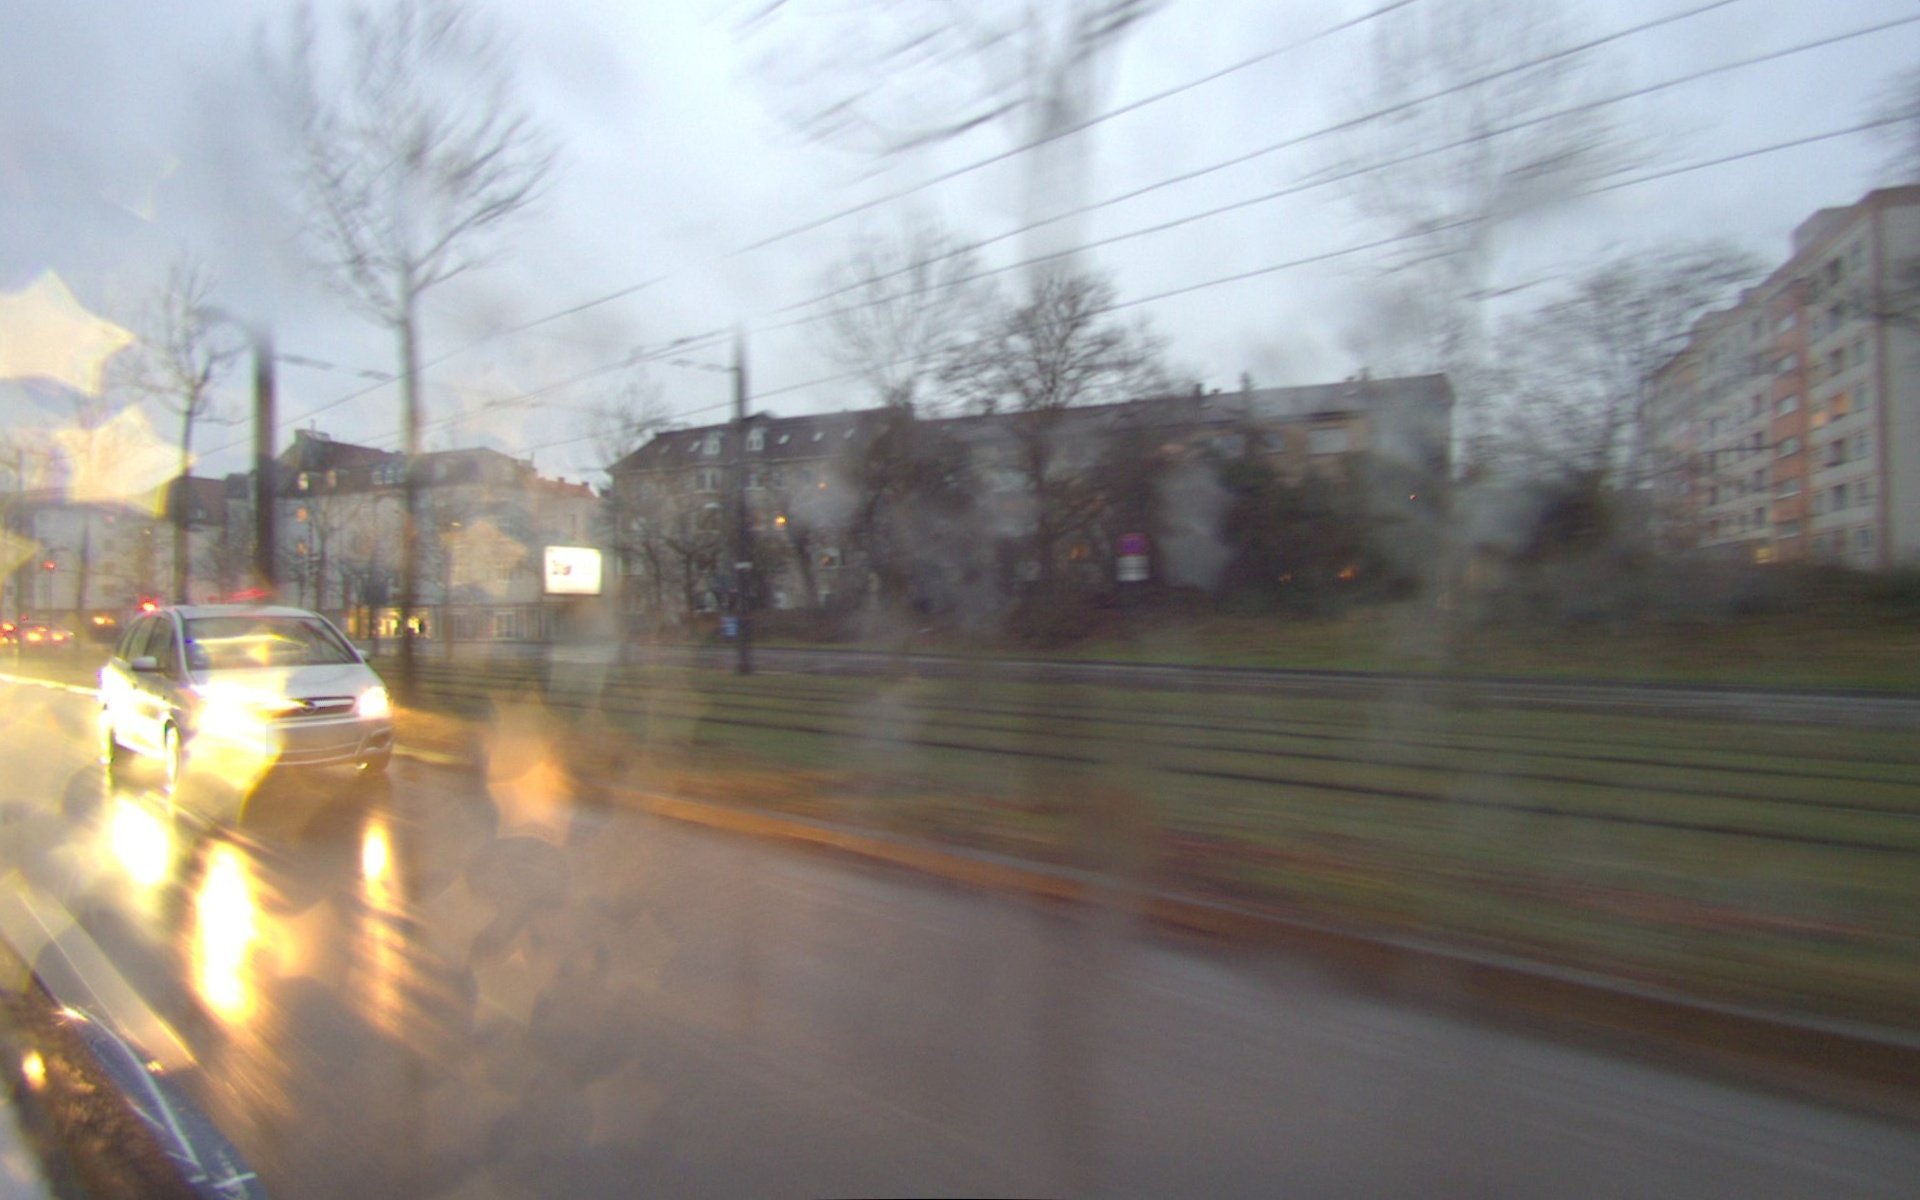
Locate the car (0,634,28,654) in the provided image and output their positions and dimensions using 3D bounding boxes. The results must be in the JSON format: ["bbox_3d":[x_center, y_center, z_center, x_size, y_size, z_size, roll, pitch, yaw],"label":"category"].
[{"bbox_3d":[-67.597,3.112,71.178,4.274,1.365,1.878,-2,-2,32],"label":"car"}]

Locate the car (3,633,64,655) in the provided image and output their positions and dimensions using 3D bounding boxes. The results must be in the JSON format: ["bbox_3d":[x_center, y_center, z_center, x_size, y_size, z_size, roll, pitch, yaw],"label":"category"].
[{"bbox_3d":[-62.293,2.956,68.042,4.273,1.365,1.878,-2,-2,31],"label":"car"}]

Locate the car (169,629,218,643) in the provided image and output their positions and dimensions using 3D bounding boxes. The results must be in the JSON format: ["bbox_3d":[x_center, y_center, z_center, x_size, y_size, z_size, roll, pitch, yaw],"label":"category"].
[{"bbox_3d":[-84.181,3.965,111.178,1.770,1.487,3.862,-2,-2,28],"label":"car"}]

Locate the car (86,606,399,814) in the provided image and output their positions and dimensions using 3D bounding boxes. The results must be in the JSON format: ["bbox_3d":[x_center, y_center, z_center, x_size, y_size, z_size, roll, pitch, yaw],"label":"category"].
[{"bbox_3d":[-6.955,0.888,9.660,3.922,1.587,1.647,-2,-2,42],"label":"car"}]
